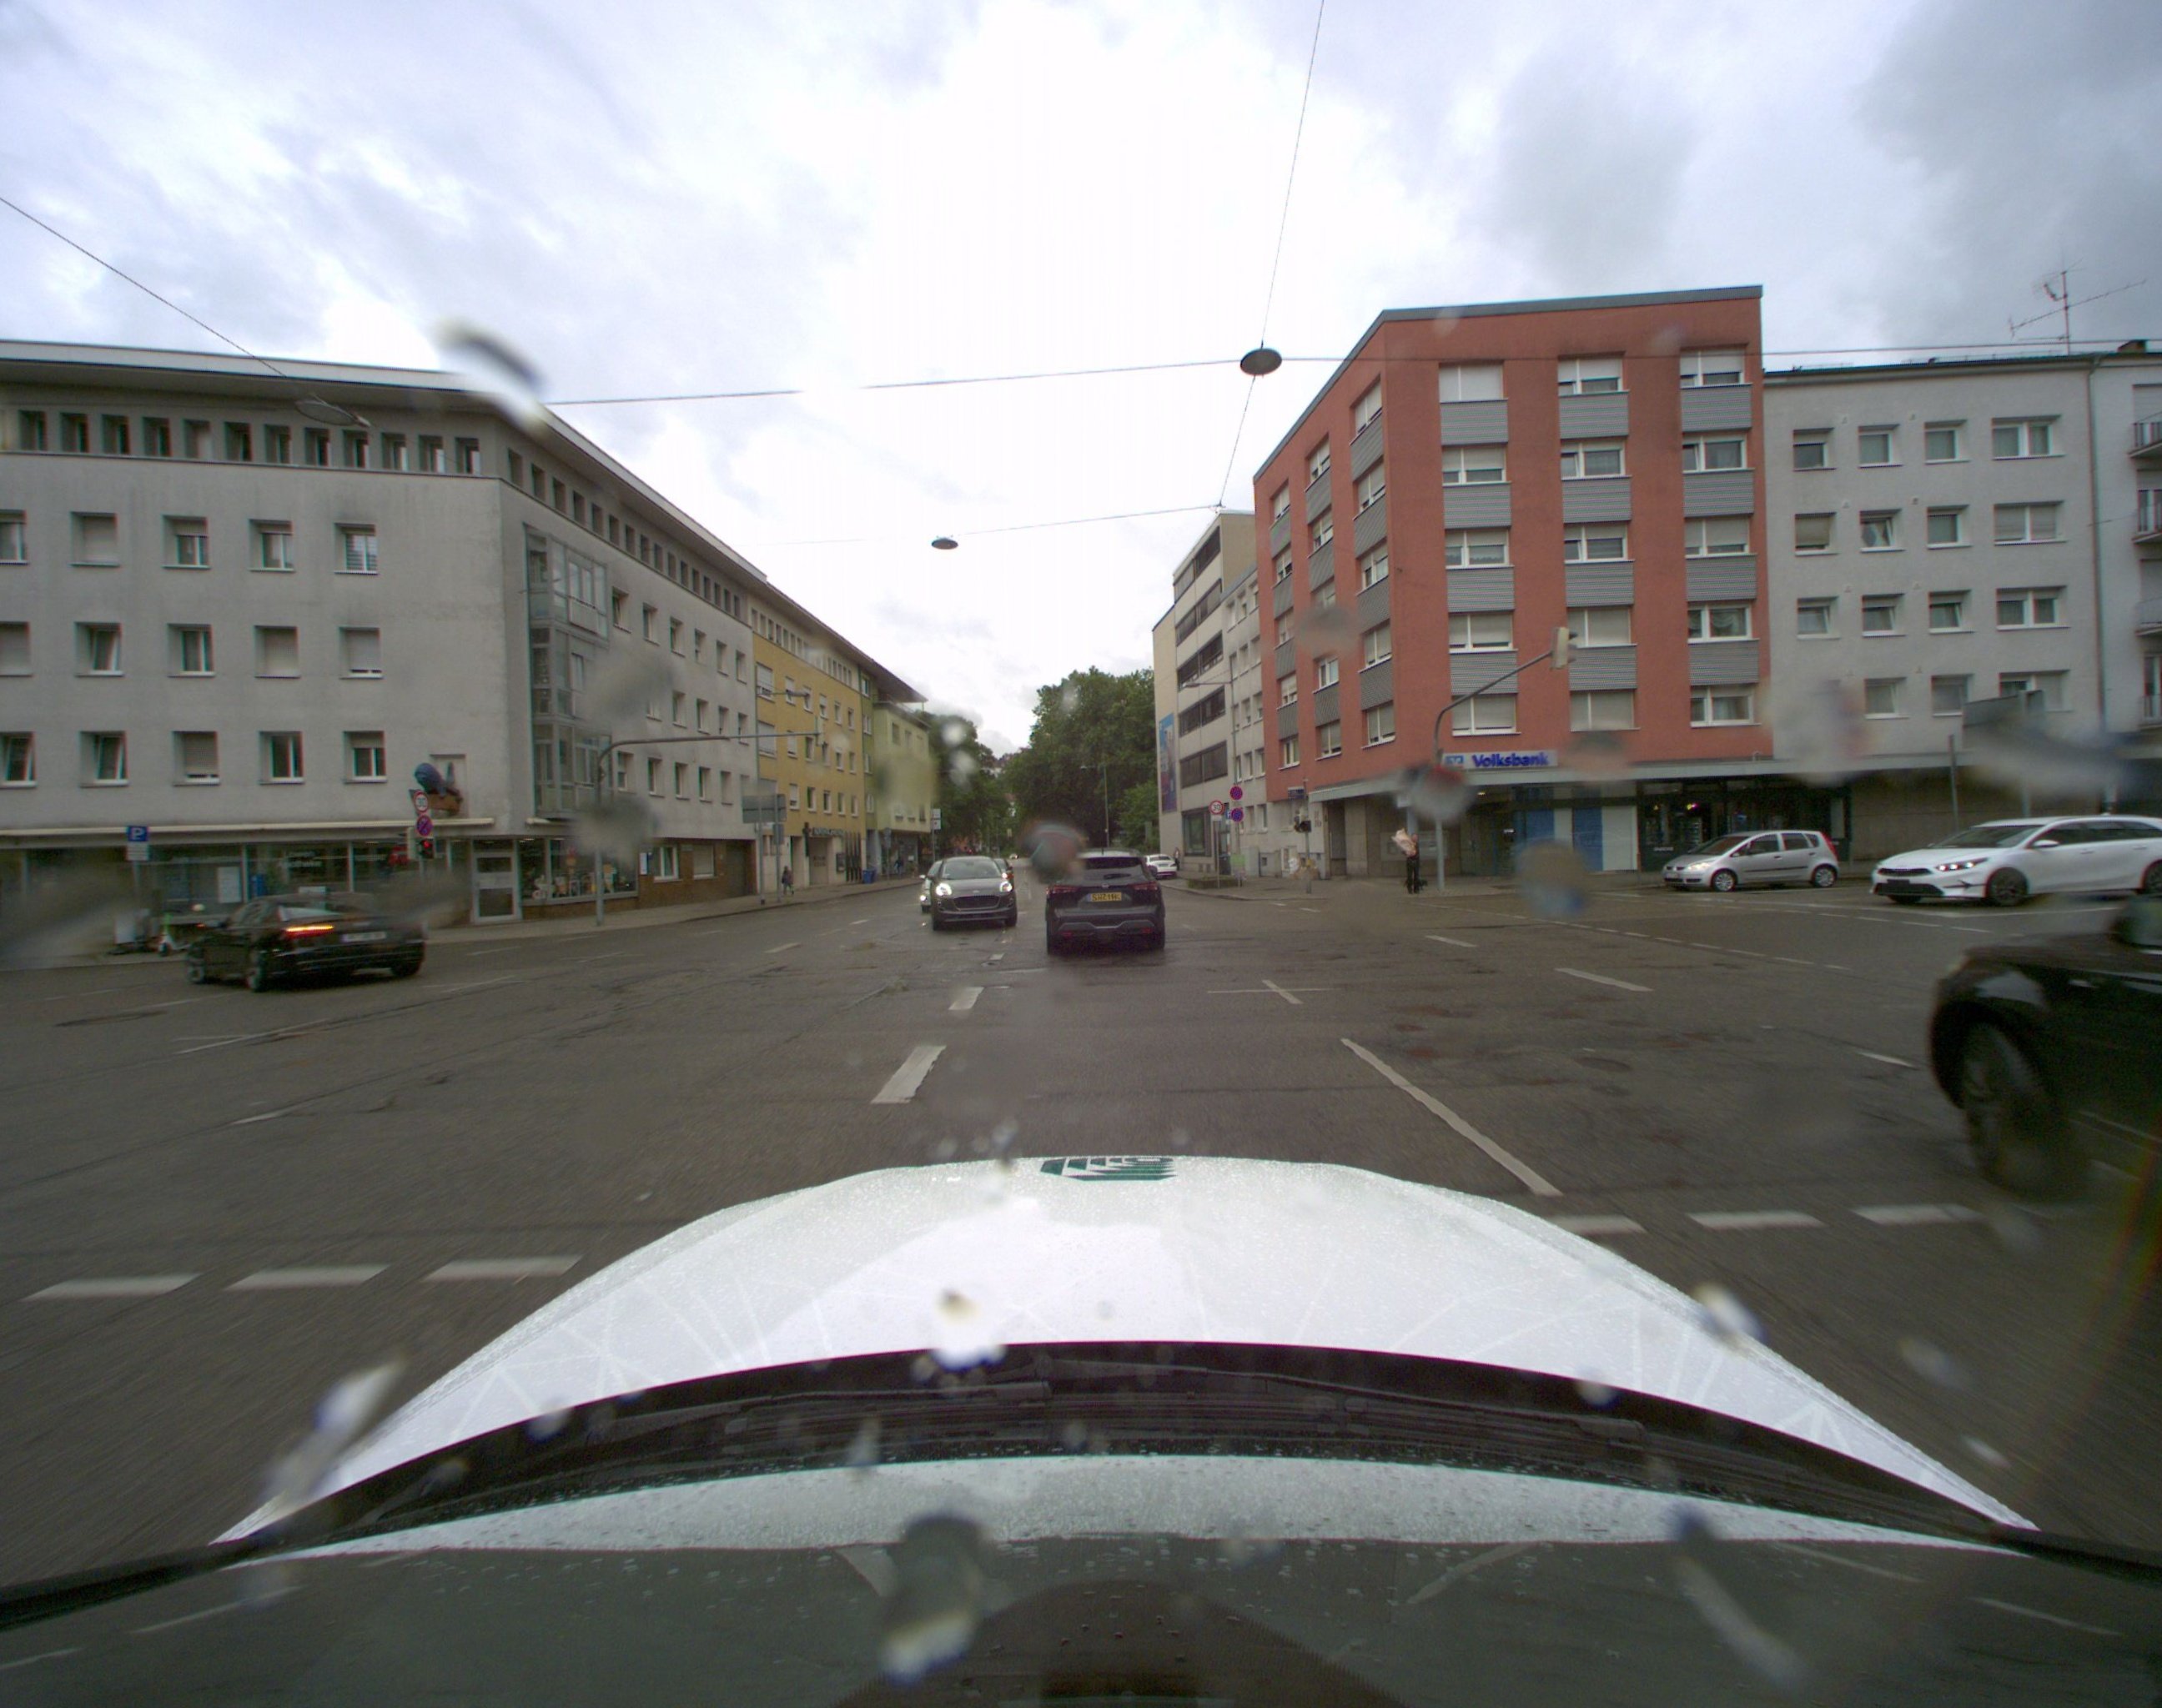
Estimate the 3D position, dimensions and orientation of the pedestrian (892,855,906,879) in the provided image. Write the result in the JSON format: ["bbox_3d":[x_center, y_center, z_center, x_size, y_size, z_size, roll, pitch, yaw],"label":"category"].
[{"bbox_3d":[-14.081,1.013,63.122,0.862,1.788,0.875,0,0,2],"label":"pedestrian"}]

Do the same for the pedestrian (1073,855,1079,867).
[{"bbox_3d":[-0.753,1.142,132.525,0.712,1.791,0.673,0,0,44],"label":"pedestrian"}]

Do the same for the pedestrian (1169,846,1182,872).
[{"bbox_3d":[6.451,0.358,55.515,0.612,1.737,0.678,-4,0,-11],"label":"pedestrian"}]

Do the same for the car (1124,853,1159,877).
[{"bbox_3d":[3.918,0.701,53.493,1.711,1.442,4.077,-4,0,-3],"label":"car"}]

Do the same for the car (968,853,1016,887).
[{"bbox_3d":[-4.176,0.749,38.880,1.816,1.433,4.396,-3,-1,-1],"label":"car"}]

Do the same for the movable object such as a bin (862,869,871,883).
[{"bbox_3d":[-14.567,1.523,55.377,0.452,0.929,0.503,-2,0,3],"label":"movable object such as a bin"}]

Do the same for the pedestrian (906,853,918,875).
[{"bbox_3d":[-13.715,0.798,66.126,0.797,1.688,0.816,-2,0,-5],"label":"pedestrian"}]

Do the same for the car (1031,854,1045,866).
[{"bbox_3d":[-6.057,0.848,114.251,1.817,1.612,3.860,0,0,-4],"label":"car"}]

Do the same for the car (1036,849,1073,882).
[{"bbox_3d":[-1.575,0.661,46.958,1.941,1.685,3.995,-4,-1,-3],"label":"car"}]

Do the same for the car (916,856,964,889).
[{"bbox_3d":[-7.637,1.013,44.584,1.815,1.640,4.372,-3,-1,0],"label":"car"}]

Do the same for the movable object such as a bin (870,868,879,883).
[{"bbox_3d":[-14.589,1.529,57.582,0.397,1.006,0.545,-2,0,3],"label":"movable object such as a bin"}]

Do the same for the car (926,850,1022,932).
[{"bbox_3d":[-2.526,0.753,18.670,1.856,1.553,4.212,-3,0,-10],"label":"car"}]

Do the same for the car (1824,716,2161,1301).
[{"bbox_3d":[4.270,0.506,1.906,2.004,1.869,4.924,0,1,20],"label":"car"}]

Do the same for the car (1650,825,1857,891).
[{"bbox_3d":[17.485,0.096,21.318,3.931,1.486,1.703,-3,0,1],"label":"car"}]

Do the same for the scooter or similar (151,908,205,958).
[{"bbox_3d":[-22.726,1.972,20.519,0.366,1.094,1.127,-3,3,-21],"label":"scooter or similar"}]

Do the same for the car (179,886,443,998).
[{"bbox_3d":[-12.458,1.322,13.114,4.441,1.388,2.013,-3,0,32],"label":"car"}]

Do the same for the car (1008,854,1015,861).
[{"bbox_3d":[-17.862,0.812,209.290,1.817,1.796,3.861,0,0,-3],"label":"car"}]

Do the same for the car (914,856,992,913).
[{"bbox_3d":[-3.814,0.903,24.960,1.930,1.527,4.129,-3,-1,-4],"label":"car"}]

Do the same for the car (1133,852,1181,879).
[{"bbox_3d":[4.317,0.635,47.072,1.773,1.401,4.569,-4,0,-7],"label":"car"}]

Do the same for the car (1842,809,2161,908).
[{"bbox_3d":[16.791,0.048,14.527,4.635,1.486,1.920,-3,0,0],"label":"car"}]

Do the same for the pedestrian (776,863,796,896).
[{"bbox_3d":[-14.437,1.250,39.885,0.684,1.581,0.652,0,0,3],"label":"pedestrian"}]

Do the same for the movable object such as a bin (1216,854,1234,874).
[{"bbox_3d":[7.951,0.563,45.111,0.713,1.068,0.781,-2,0,-11],"label":"movable object such as a bin"}]

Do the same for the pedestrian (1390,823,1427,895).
[{"bbox_3d":[10.004,0.153,24.914,0.822,2.158,0.770,0,0,2],"label":"pedestrian"}]

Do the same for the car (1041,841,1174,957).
[{"bbox_3d":[0.303,0.652,13.774,1.890,1.629,3.996,-1,0,-2],"label":"car"}]

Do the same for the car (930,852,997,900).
[{"bbox_3d":[-4.363,0.829,30.937,1.815,1.608,4.429,-3,-1,0],"label":"car"}]

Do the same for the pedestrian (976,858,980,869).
[{"bbox_3d":[-16.240,1.496,128.322,0.667,1.791,0.719,0,0,-11],"label":"pedestrian"}]

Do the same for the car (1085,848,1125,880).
[{"bbox_3d":[1.489,0.621,51.710,1.943,1.816,3.992,-4,-1,-6],"label":"car"}]

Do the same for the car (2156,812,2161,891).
[{"bbox_3d":[22.561,-0.155,14.422,4.493,1.486,1.846,-3,0,1],"label":"car"}]
